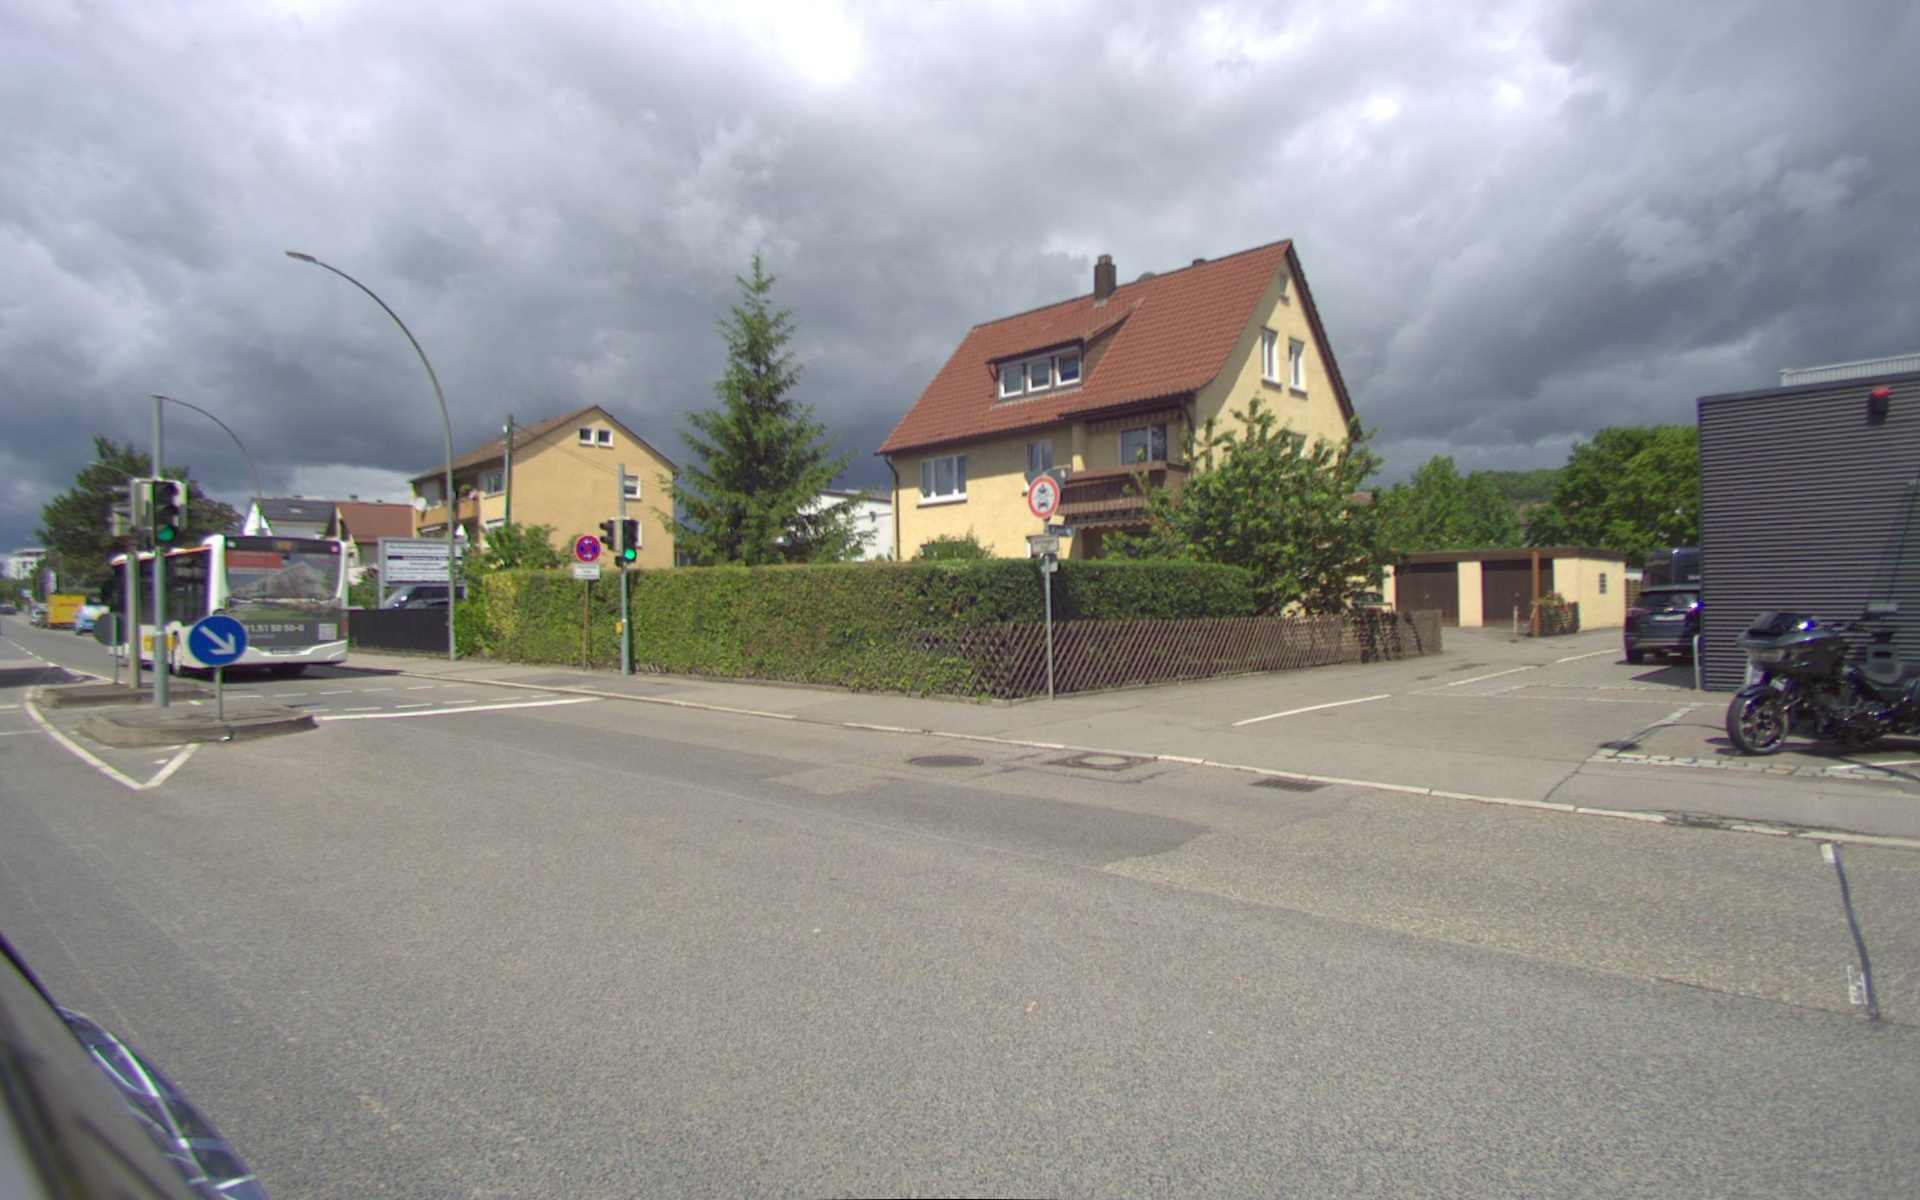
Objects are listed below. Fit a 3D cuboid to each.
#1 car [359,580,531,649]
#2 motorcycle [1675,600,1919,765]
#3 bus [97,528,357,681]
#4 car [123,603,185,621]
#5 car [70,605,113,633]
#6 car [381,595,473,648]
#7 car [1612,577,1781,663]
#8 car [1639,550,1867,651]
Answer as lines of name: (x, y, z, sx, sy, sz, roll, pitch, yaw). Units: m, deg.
car: (-18.959, 0.466, 37.434, 5.286, 2.402, 2.107, -1, 0, -42)
motorcycle: (8.154, 0.671, 9.110, 2.414, 1.301, 1.468, -1, 0, -7)
bus: (-18.651, 0.123, 25.213, 12.261, 3.054, 2.690, 0, -1, 42)
car: (-81.020, 1.155, 101.773, 2.219, 1.691, 4.669, -1, 0, 44)
car: (-55.252, 1.179, 64.351, 4.001, 1.693, 1.706, 0, 0, 44)
car: (-17.652, 0.687, 33.475, 1.788, 1.633, 3.624, -1, 0, -43)
car: (15.677, 0.403, 21.485, 3.936, 1.654, 1.901, -1, -2, -39)
car: (19.635, 0.019, 25.266, 3.960, 2.383, 1.992, -1, 0, 13)
